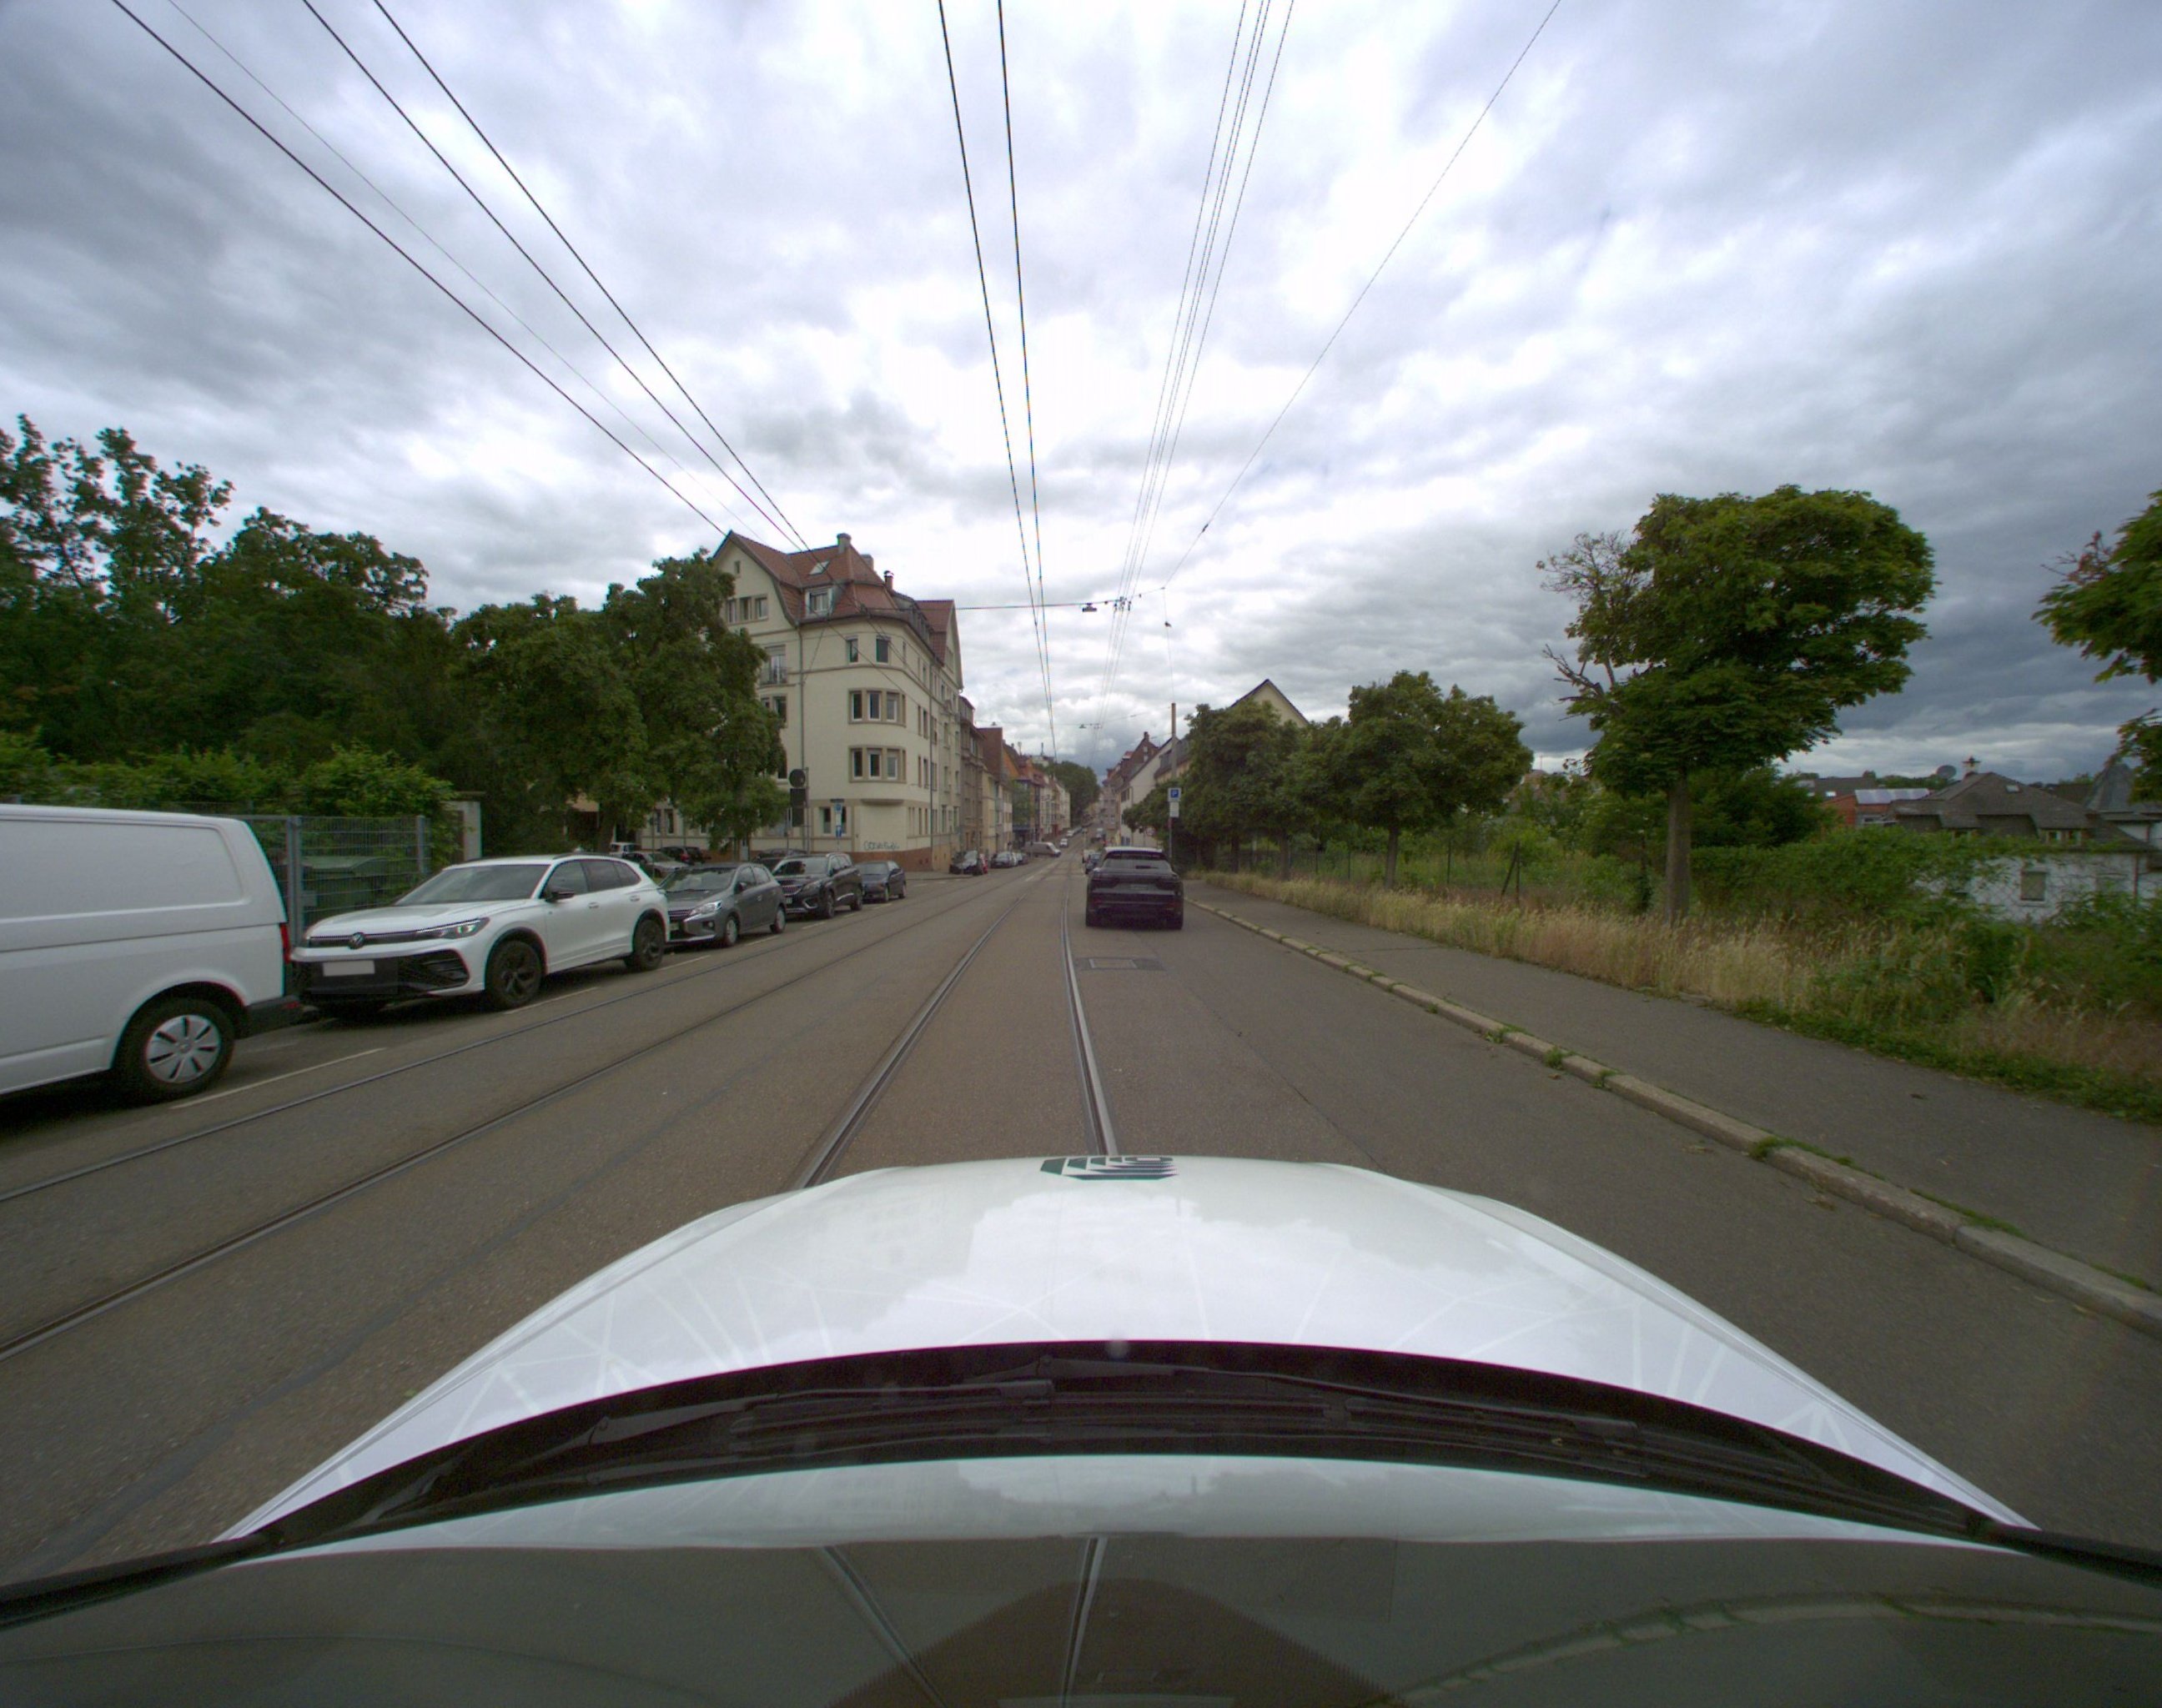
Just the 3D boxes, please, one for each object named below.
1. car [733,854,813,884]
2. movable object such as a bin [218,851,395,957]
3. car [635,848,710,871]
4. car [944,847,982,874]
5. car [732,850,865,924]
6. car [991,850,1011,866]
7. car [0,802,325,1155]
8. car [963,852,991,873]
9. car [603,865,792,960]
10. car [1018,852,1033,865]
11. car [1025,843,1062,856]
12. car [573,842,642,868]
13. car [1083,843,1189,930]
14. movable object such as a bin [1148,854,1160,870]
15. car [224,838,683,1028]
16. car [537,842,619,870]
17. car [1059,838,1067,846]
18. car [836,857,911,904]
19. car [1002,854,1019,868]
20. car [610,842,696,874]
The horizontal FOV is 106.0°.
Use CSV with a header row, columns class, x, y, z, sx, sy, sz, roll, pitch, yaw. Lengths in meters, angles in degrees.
class,x,y,z,sx,sy,sz,roll,pitch,yaw
car,-16.887,0.766,44.663,3.950,1.571,1.887,0,0,25
movable object such as a bin,-10.809,0.664,11.434,1.271,1.373,1.203,2,0,0
car,-24.176,0.308,48.204,3.950,1.354,1.887,0,0,25
car,-7.596,0.423,52.760,1.862,1.646,4.399,-1,-1,-2
car,-7.088,0.789,20.976,1.964,1.686,4.441,-1,-1,-2
car,-7.556,0.424,77.461,1.616,1.463,4.030,-1,-1,-2
car,-6.835,0.684,3.960,1.964,1.913,4.731,-1,-1,-2
car,-7.485,0.620,58.806,1.616,1.463,3.743,-1,-1,-2
car,-6.865,0.969,15.063,1.734,1.509,3.866,-1,-1,-2
car,-6.553,0.551,96.823,1.616,1.473,4.552,-1,-1,-2
car,-6.641,-0.796,143.262,6.221,2.290,2.215,0,0,27
car,-29.376,0.061,50.568,3.950,1.544,1.771,0,0,25
car,1.064,0.634,17.666,1.988,1.676,3.998,0,0,-1
movable object such as a bin,5.525,0.593,61.439,0.790,1.218,0.788,0,0,-4
car,-6.819,0.741,9.715,1.964,1.686,4.629,-1,-1,-2
car,-26.576,0.117,43.024,3.950,1.419,1.771,0,0,25
car,-4.075,-2.732,185.664,1.745,1.760,4.253,0,0,0
car,-7.015,0.860,27.901,1.616,1.477,4.153,-1,-1,-2
car,-7.619,0.745,88.509,1.616,1.463,3.682,-1,-1,-2
car,-21.400,0.161,40.730,3.951,1.439,1.771,2,2,25
